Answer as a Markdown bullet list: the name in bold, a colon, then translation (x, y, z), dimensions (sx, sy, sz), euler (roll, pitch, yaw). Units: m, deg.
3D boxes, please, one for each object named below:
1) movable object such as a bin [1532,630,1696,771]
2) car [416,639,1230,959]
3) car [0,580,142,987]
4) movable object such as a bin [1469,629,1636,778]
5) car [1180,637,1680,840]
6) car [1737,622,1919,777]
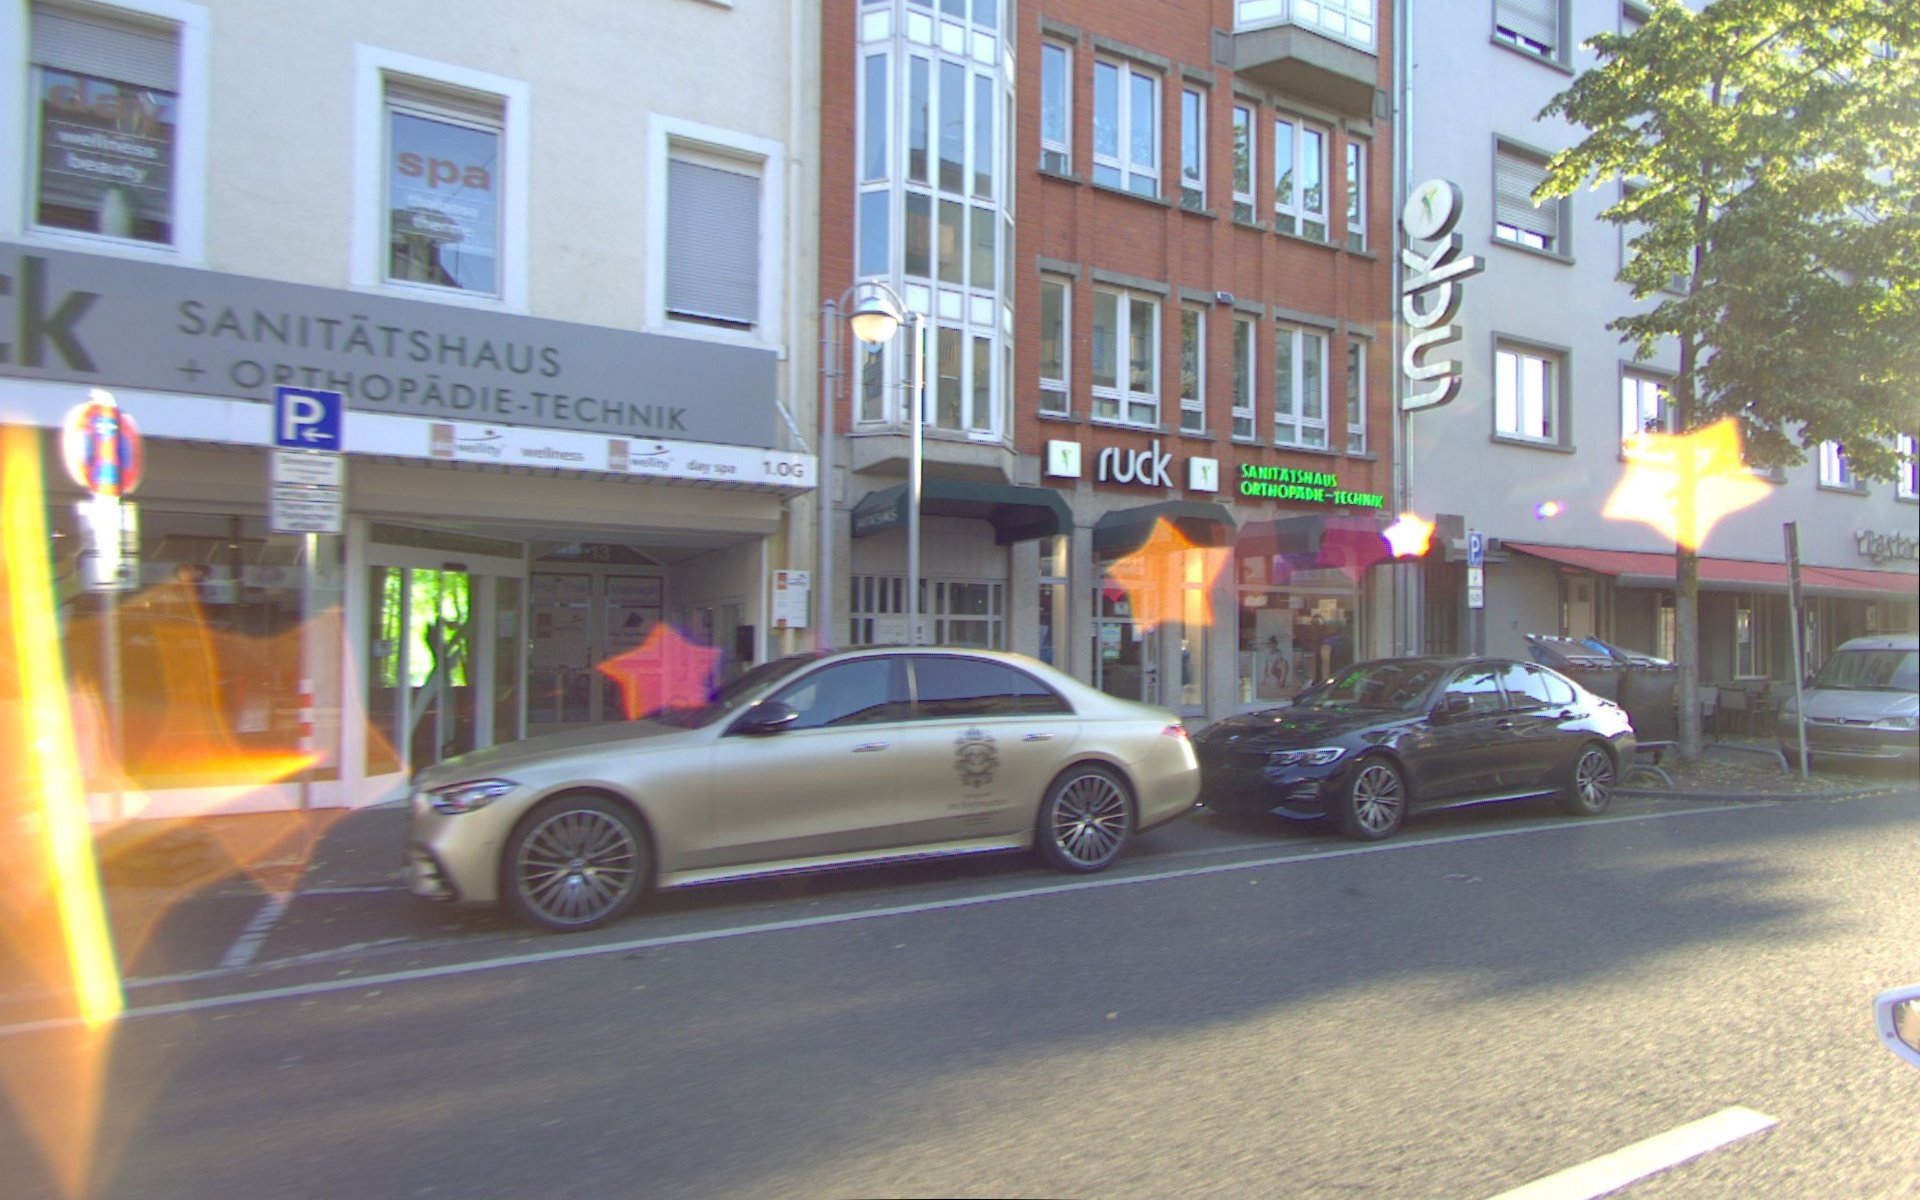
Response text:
- **movable object such as a bin**: translation (8.747, 1.292, 13.468), dimensions (1.423, 1.695, 1.275), euler (1, 1, -29)
- **car**: translation (-0.778, 1.050, 6.864), dimensions (5.046, 1.530, 1.987), euler (1, -3, -27)
- **car**: translation (-6.934, 0.792, 4.091), dimensions (5.234, 1.792, 1.986), euler (1, -3, -29)
- **movable object such as a bin**: translation (7.515, 1.254, 12.772), dimensions (1.352, 1.695, 1.274), euler (1, 1, -29)
- **car**: translation (4.498, 1.135, 9.515), dimensions (4.580, 1.530, 1.908), euler (1, -3, -28)
- **car**: translation (12.587, 1.254, 13.555), dimensions (4.099, 1.810, 1.906), euler (2, -3, -30)
